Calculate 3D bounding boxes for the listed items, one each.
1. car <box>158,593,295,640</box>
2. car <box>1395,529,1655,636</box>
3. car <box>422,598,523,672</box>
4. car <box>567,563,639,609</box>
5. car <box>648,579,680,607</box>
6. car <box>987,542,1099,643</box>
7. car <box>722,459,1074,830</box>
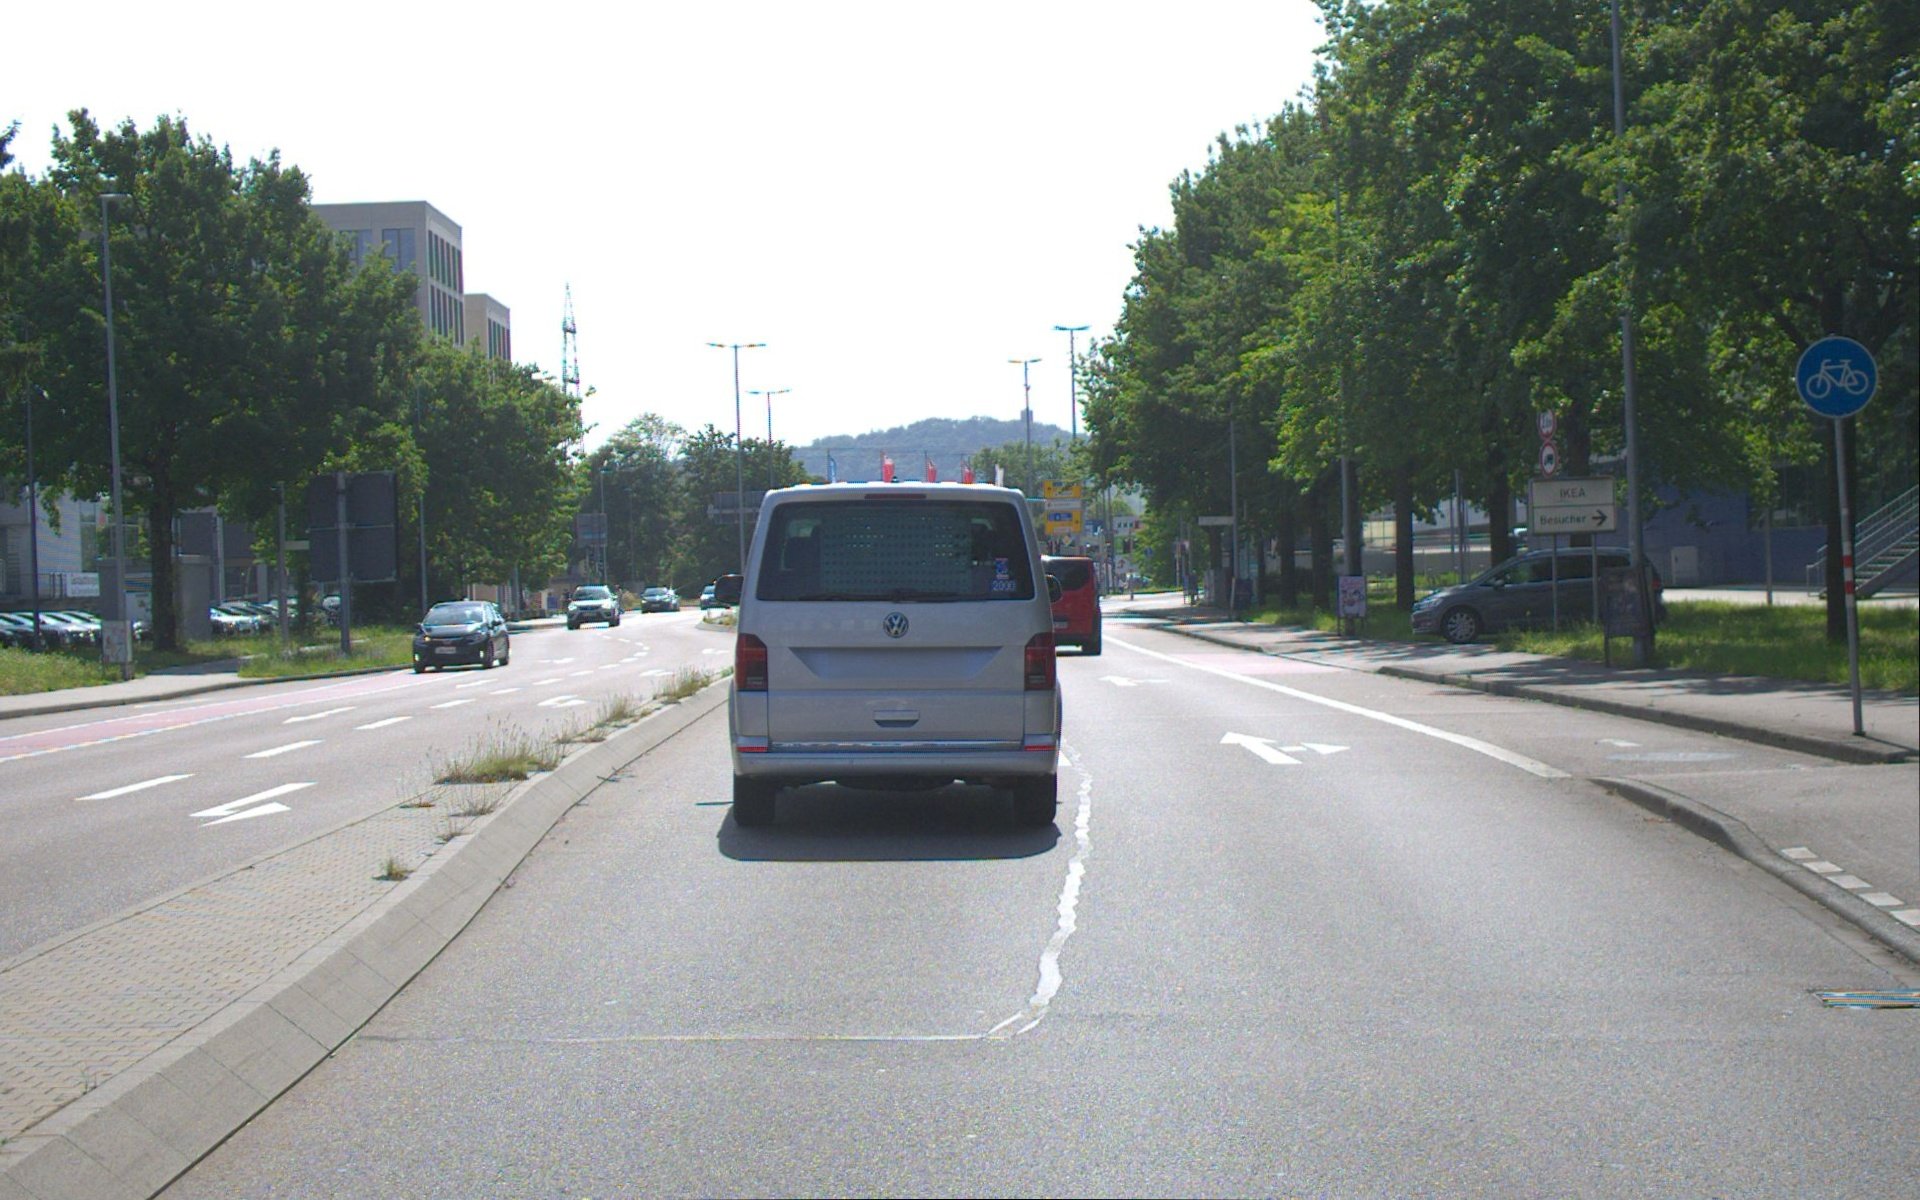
[{"bbox_3d":[-24.739,0.550,116.059,4.173,1.186,1.955,-5,1,-3],"label":"car"},{"bbox_3d":[10.135,-0.316,61.955,4.445,1.688,1.844,-3,0,6],"label":"car"},{"bbox_3d":[-10.990,0.764,77.690,1.698,1.514,4.027,-3,1,-1],"label":"car"},{"bbox_3d":[-13.418,-0.539,129.479,1.994,1.612,4.104,-3,0,3],"label":"car"},{"bbox_3d":[-18.256,-0.451,211.945,1.738,1.613,4.210,-4,1,-3],"label":"car"},{"bbox_3d":[1.641,-0.161,69.663,1.967,1.961,5.126,0,0,-2],"label":"car"},{"bbox_3d":[-0.368,0.221,20.478,1.884,1.984,4.000,0,0,-1],"label":"car"}]
